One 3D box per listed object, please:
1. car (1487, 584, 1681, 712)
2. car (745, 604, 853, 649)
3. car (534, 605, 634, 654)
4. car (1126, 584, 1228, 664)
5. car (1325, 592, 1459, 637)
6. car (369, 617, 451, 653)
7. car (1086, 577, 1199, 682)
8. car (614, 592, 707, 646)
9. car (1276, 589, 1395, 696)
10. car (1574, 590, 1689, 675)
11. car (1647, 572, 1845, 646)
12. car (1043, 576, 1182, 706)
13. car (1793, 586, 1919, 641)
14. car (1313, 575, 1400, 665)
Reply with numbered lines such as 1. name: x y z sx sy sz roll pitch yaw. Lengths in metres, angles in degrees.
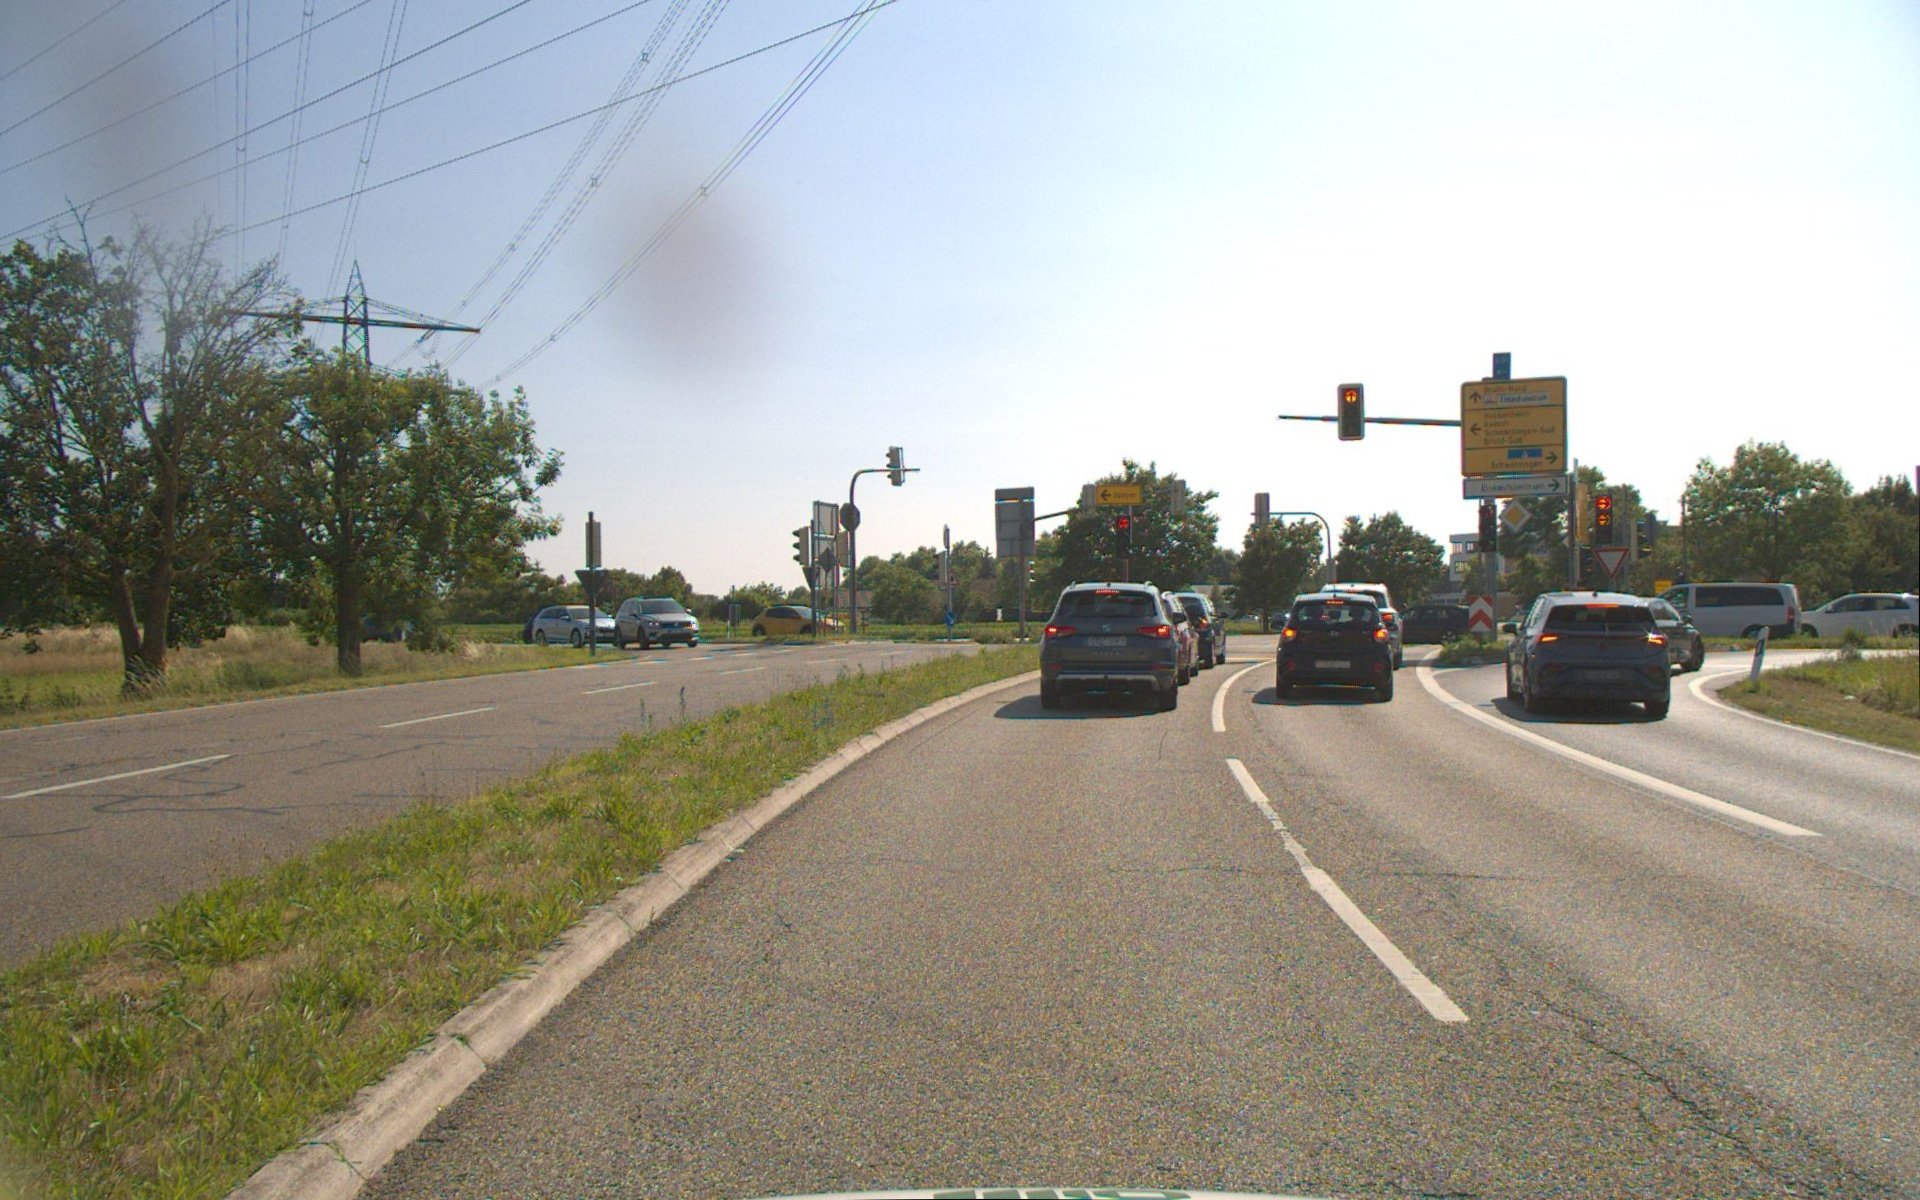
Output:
1. car: 8.326 0.576 22.403 1.735 1.544 4.103 -1 1 10
2. car: -6.227 1.001 63.760 3.919 1.680 1.813 -1 -1 36
3. car: -13.416 1.043 58.901 1.805 1.680 3.938 0 -1 -42
4. car: 4.461 0.469 33.687 1.705 1.510 3.627 1 0 13
5. car: 14.464 0.482 55.434 4.019 1.441 1.711 0 0 35
6. car: -26.592 1.667 79.915 3.919 1.680 1.813 -1 -1 36
7. car: 3.096 0.466 27.534 1.705 1.596 3.627 1 0 8
8. car: -9.679 0.604 53.280 1.794 1.680 3.961 0 0 -29
9. car: 5.631 0.582 24.657 1.598 1.473 3.297 1 0 14
10. car: 12.401 0.546 30.440 1.609 1.410 3.996 -1 1 27
11. car: 22.011 0.225 46.391 4.842 1.951 1.995 1 1 32
12. car: 2.109 0.505 22.248 1.705 1.596 3.627 0 0 7
13. car: 26.237 0.385 47.200 4.245 1.545 1.802 -1 0 34
14. car: 8.055 0.381 33.503 1.598 1.706 3.752 1 0 14
